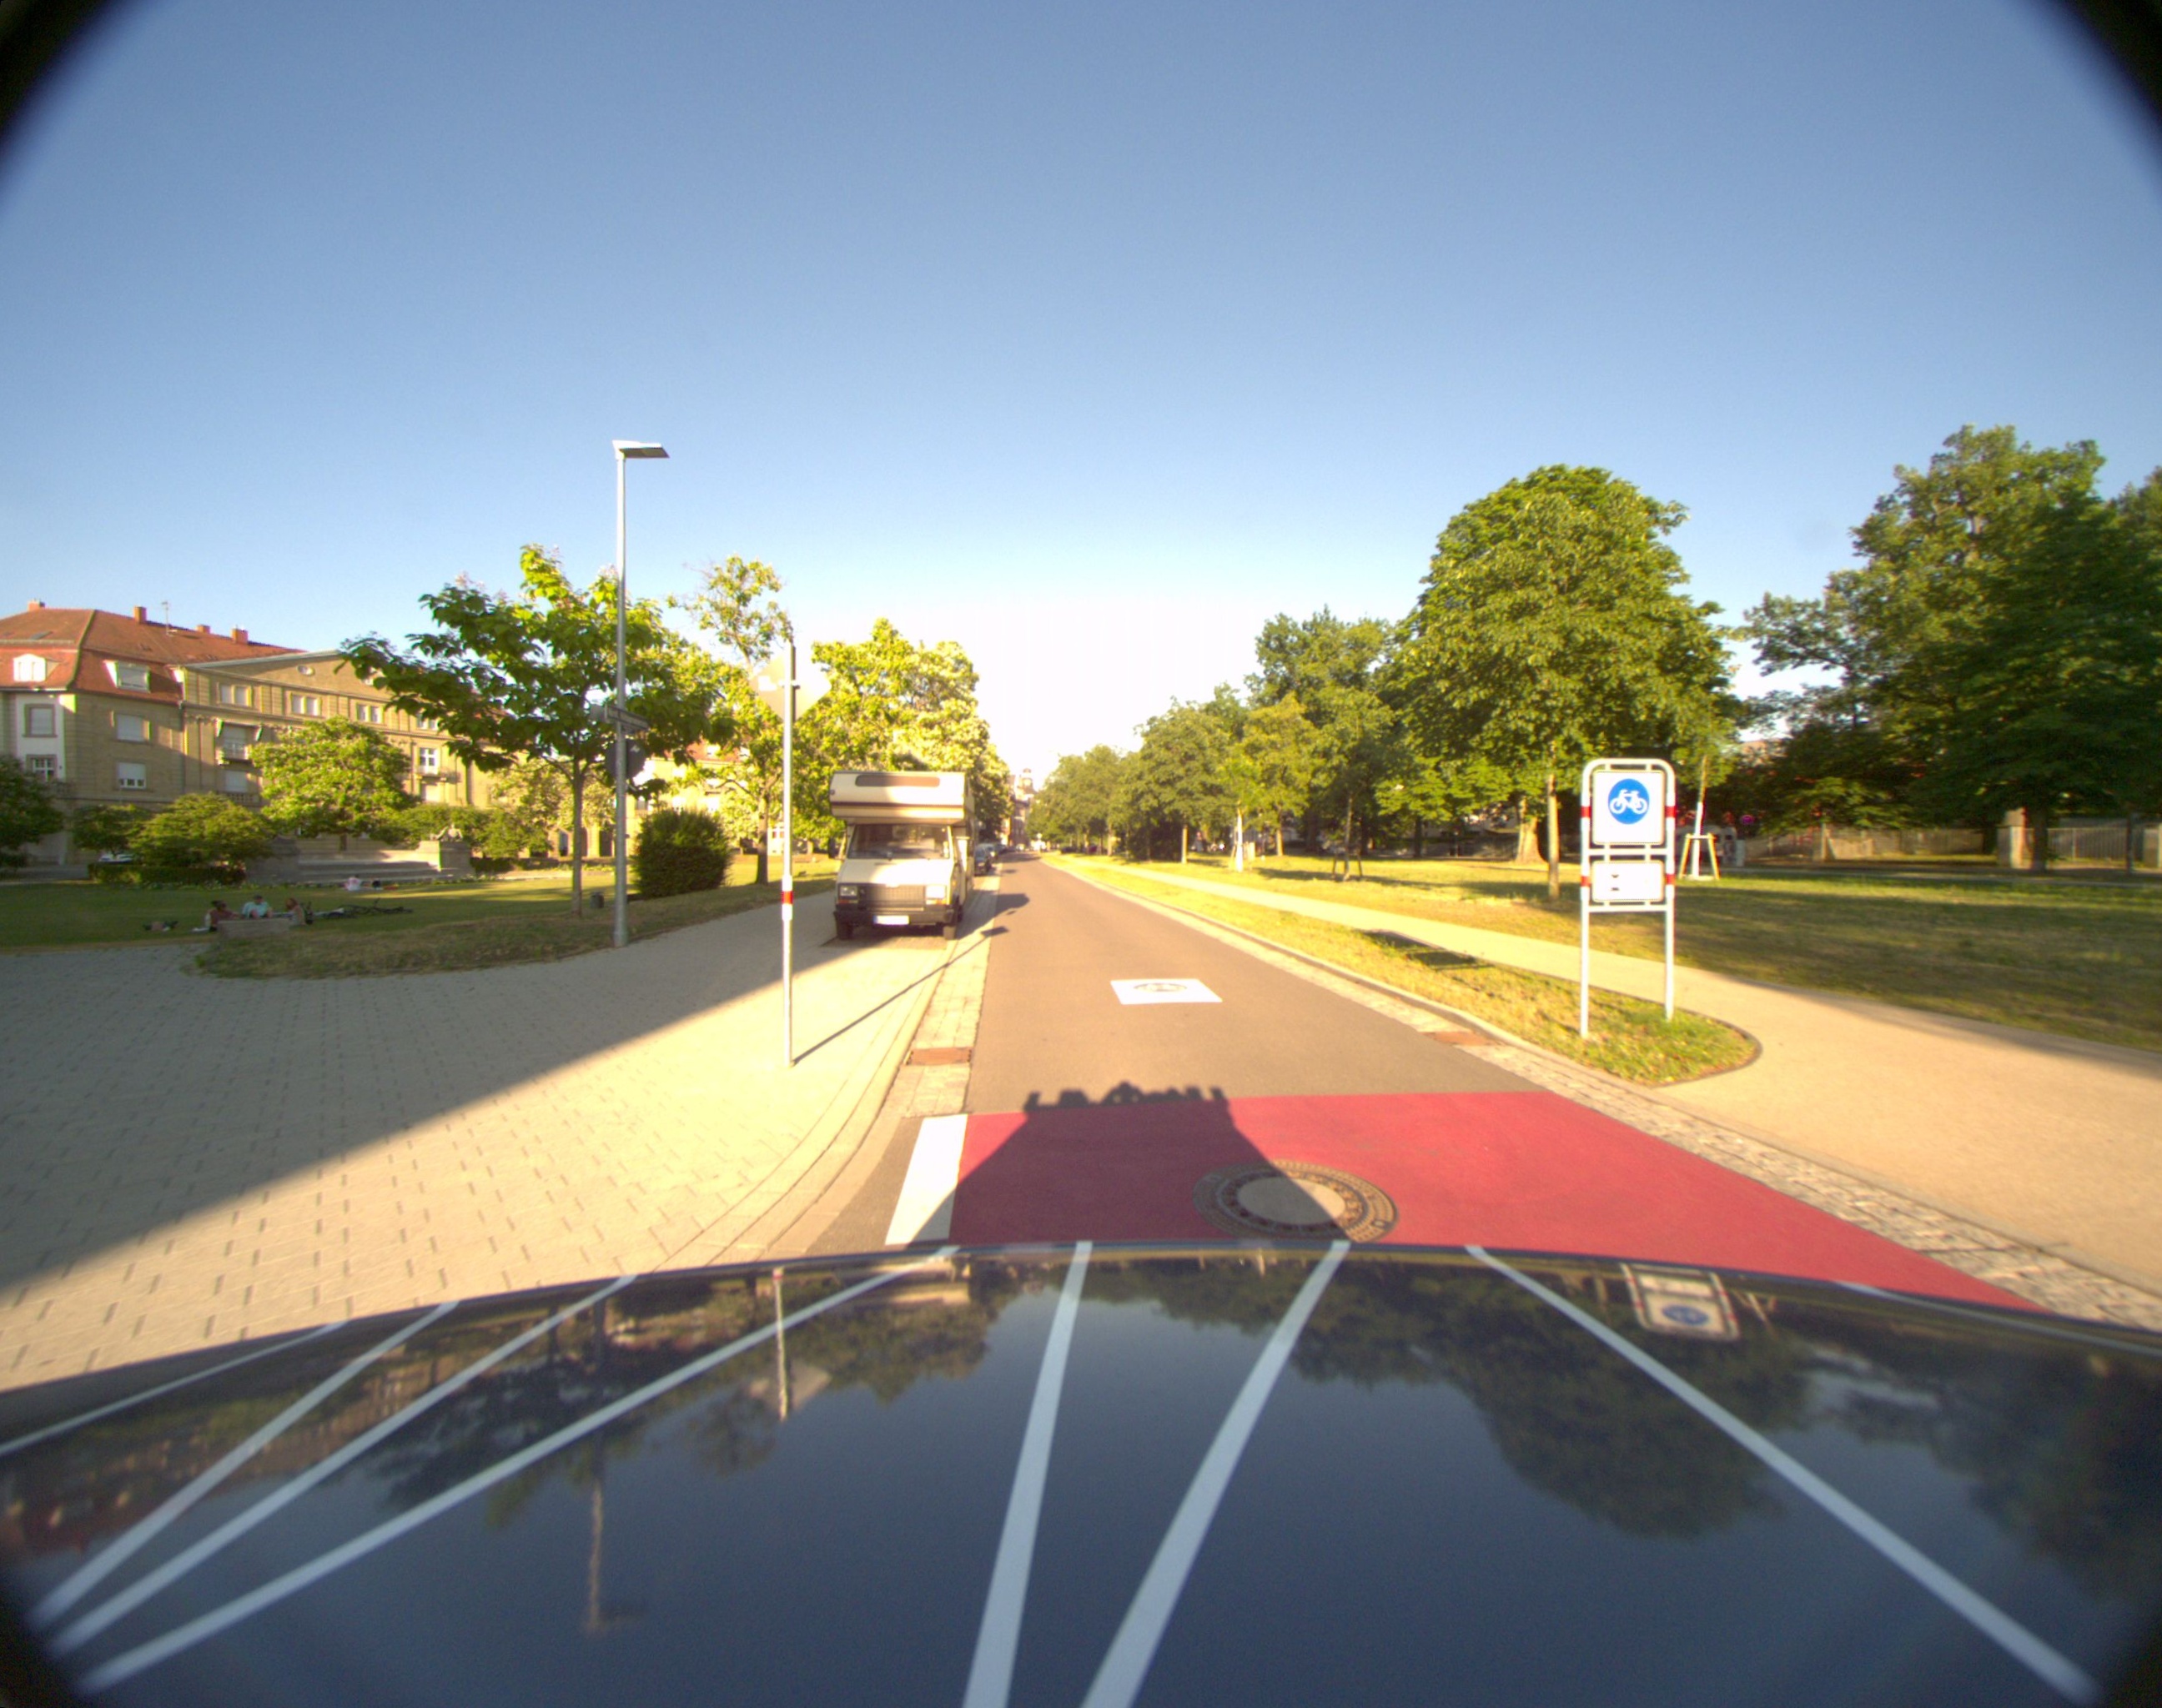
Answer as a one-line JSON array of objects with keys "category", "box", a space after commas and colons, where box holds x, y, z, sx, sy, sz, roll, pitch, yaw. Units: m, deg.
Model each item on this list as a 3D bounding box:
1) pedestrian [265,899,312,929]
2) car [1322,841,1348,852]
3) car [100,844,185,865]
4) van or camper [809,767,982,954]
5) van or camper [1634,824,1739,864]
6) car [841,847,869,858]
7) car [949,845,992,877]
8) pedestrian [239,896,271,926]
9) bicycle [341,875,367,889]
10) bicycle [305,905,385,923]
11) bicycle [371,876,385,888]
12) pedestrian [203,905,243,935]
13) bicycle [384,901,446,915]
[{"category": "pedestrian", "box": [-21.781, 1.636, 20.896, 0.497, 0.760, 0.812, 0, 0, 33]}, {"category": "car", "box": [34.247, -1.030, 102.517, 1.797, 1.456, 3.997, -1, 1, -6]}, {"category": "car", "box": [-70.124, 0.037, 56.864, 1.725, 1.490, 3.705, -1, 0, 1]}, {"category": "van or camper", "box": [-3.176, 0.043, 14.439, 2.429, 2.767, 5.947, 2, 1, -7]}, {"category": "van or camper", "box": [39.172, -0.658, 49.356, 2.000, 2.425, 5.462, -1, 1, -7]}, {"category": "car", "box": [-33.011, -0.210, 111.044, 3.708, 1.490, 1.722, -2, 1, -24]}, {"category": "car", "box": [-5.602, 0.295, 38.924, 2.000, 1.501, 3.997, -1, 1, -6]}, {"category": "pedestrian", "box": [-23.780, 1.635, 21.876, 0.453, 0.830, 0.499, 0, 2, 27]}, {"category": "bicycle", "box": [-35.906, 1.394, 37.540, 0.907, 0.648, 0.438, -2, 2, -44]}, {"category": "bicycle", "box": [-22.698, 1.841, 23.472, 0.659, 0.380, 1.931, 0, 1, -3]}, {"category": "bicycle", "box": [-35.340, 1.411, 38.177, 0.488, 0.579, 0.438, -3, 2, -44]}, {"category": "pedestrian", "box": [-22.444, 1.725, 19.889, 0.498, 0.742, 0.454, -1, 2, -10]}, {"category": "bicycle", "box": [-22.514, 1.816, 25.731, 0.659, 0.317, 1.702, 0, 1, -3]}]
